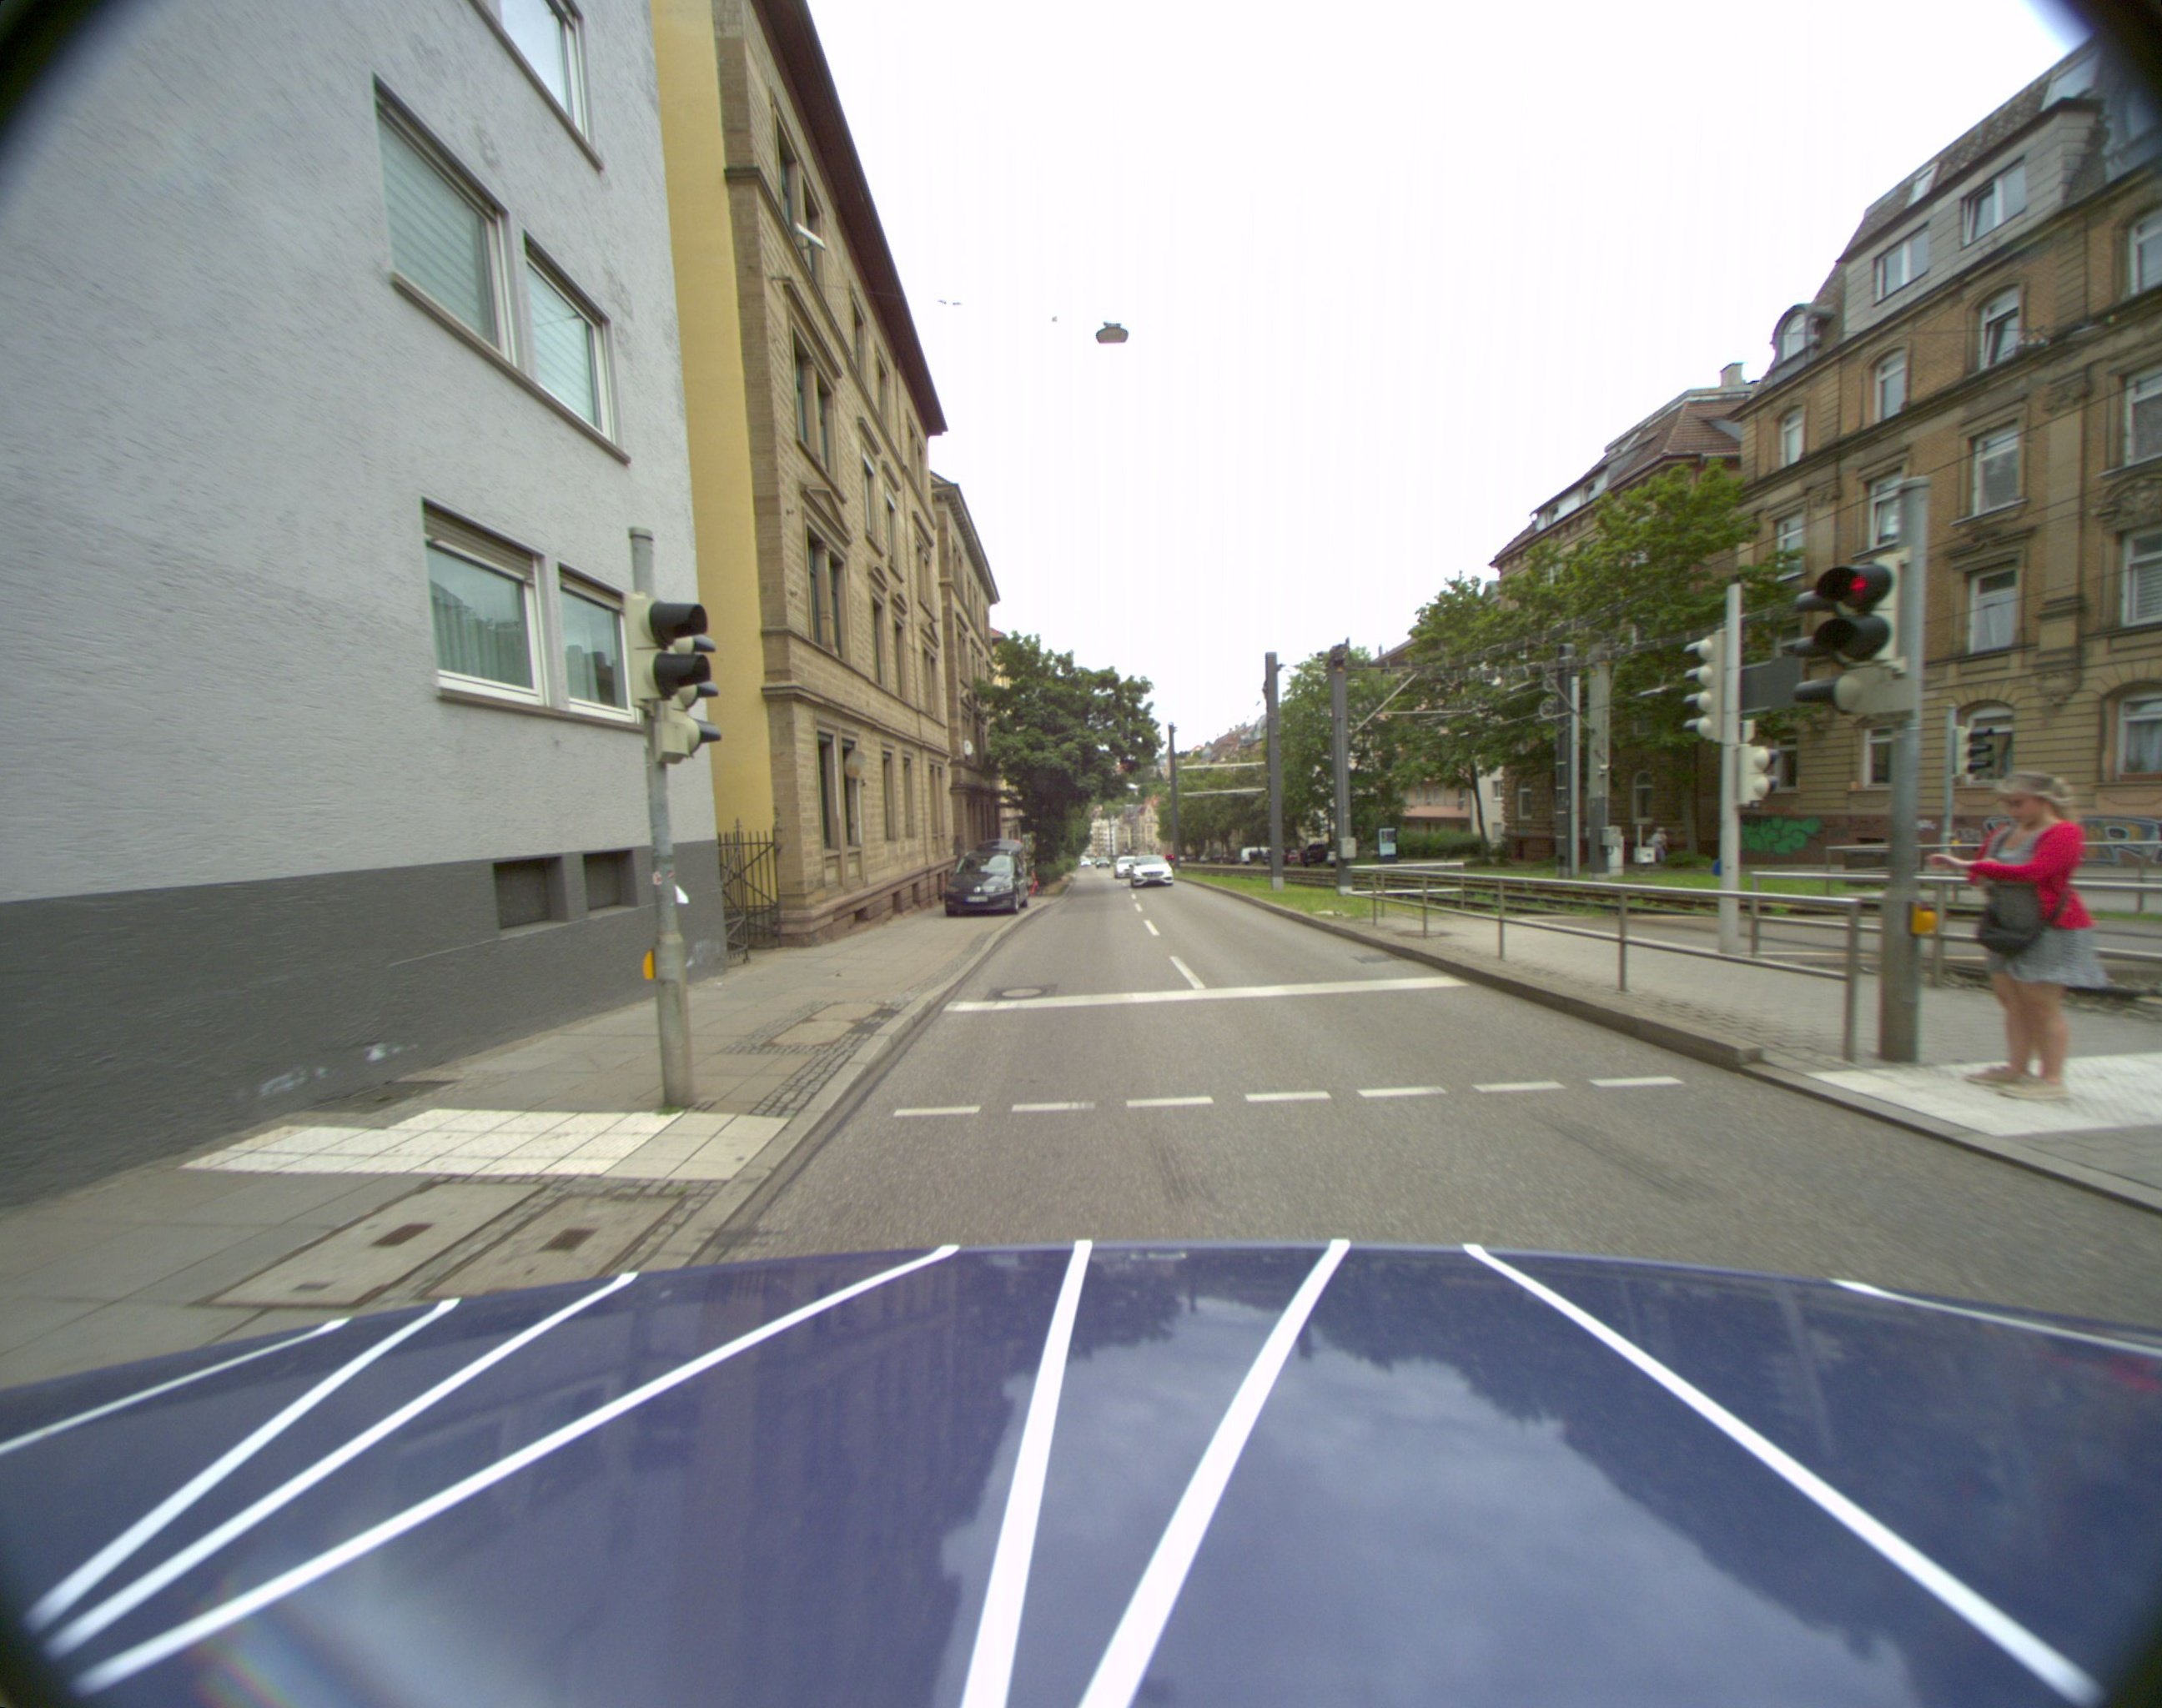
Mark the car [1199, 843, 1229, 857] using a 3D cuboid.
[{"bbox_3d":[19.557,-0.566,111.577,3.859,1.803,1.782,-2,0,-15],"label":"car"}]

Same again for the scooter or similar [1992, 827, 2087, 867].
[{"bbox_3d":[23.690,-0.174,18.822,0.429,0.937,1.588,-2,0,5],"label":"scooter or similar"}]

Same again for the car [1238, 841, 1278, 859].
[{"bbox_3d":[19.422,-0.425,83.234,3.862,1.803,1.781,-2,0,-23],"label":"car"}]

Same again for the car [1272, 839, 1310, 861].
[{"bbox_3d":[19.449,-0.373,70.382,1.780,1.678,3.864,-2,2,41],"label":"car"}]

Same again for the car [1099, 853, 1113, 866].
[{"bbox_3d":[3.546,0.768,109.061,1.881,1.727,4.000,-2,0,2],"label":"car"}]

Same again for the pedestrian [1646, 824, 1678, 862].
[{"bbox_3d":[23.374,-0.441,30.574,0.689,1.504,0.740,-3,1,2],"label":"pedestrian"}]

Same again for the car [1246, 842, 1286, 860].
[{"bbox_3d":[19.728,-0.337,81.075,3.862,1.678,1.781,-2,0,-23],"label":"car"}]

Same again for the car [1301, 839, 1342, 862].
[{"bbox_3d":[19.462,-0.269,61.368,1.780,1.678,3.865,-2,0,40],"label":"car"}]

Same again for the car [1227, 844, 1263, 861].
[{"bbox_3d":[19.750,-0.136,91.544,3.859,1.804,1.782,-3,1,-15],"label":"car"}]

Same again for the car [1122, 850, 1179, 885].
[{"bbox_3d":[3.124,0.589,34.875,1.999,1.390,4.229,-4,0,-2],"label":"car"}]

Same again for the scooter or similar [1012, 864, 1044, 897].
[{"bbox_3d":[-2.091,1.035,29.885,1.199,1.266,0.629,1,1,-9],"label":"scooter or similar"}]

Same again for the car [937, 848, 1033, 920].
[{"bbox_3d":[-2.449,0.718,20.394,1.862,1.701,4.308,-1,0,2],"label":"car"}]

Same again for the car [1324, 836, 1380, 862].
[{"bbox_3d":[19.749,-0.341,55.322,3.863,1.678,1.780,-3,1,-32],"label":"car"}]

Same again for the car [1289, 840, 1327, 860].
[{"bbox_3d":[20.240,-0.382,67.770,1.780,1.678,3.865,-2,0,40],"label":"car"}]

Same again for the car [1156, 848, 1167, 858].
[{"bbox_3d":[16.620,-0.273,157.418,1.998,2.002,4.000,-2,0,2],"label":"car"}]

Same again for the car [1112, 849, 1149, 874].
[{"bbox_3d":[3.385,0.504,52.637,1.999,1.479,4.229,-5,0,-2],"label":"car"}]

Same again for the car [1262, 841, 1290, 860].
[{"bbox_3d":[19.591,-0.354,76.168,1.780,1.678,3.864,-2,1,28],"label":"car"}]

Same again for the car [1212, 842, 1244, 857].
[{"bbox_3d":[19.919,-0.626,102.866,3.859,1.803,1.782,-2,0,-15],"label":"car"}]

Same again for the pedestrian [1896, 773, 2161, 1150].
[{"bbox_3d":[4.757,0.477,3.752,0.680,1.670,0.685,-3,1,-2],"label":"pedestrian"}]

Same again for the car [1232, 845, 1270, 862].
[{"bbox_3d":[19.933,-0.051,89.093,3.859,1.803,1.782,-2,0,-15],"label":"car"}]

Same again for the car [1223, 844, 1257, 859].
[{"bbox_3d":[20.356,-0.340,97.501,3.859,1.803,1.782,-2,0,-15],"label":"car"}]

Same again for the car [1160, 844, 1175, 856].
[{"bbox_3d":[16.481,-0.753,144.283,1.999,2.002,3.998,-2,0,-6],"label":"car"}]
